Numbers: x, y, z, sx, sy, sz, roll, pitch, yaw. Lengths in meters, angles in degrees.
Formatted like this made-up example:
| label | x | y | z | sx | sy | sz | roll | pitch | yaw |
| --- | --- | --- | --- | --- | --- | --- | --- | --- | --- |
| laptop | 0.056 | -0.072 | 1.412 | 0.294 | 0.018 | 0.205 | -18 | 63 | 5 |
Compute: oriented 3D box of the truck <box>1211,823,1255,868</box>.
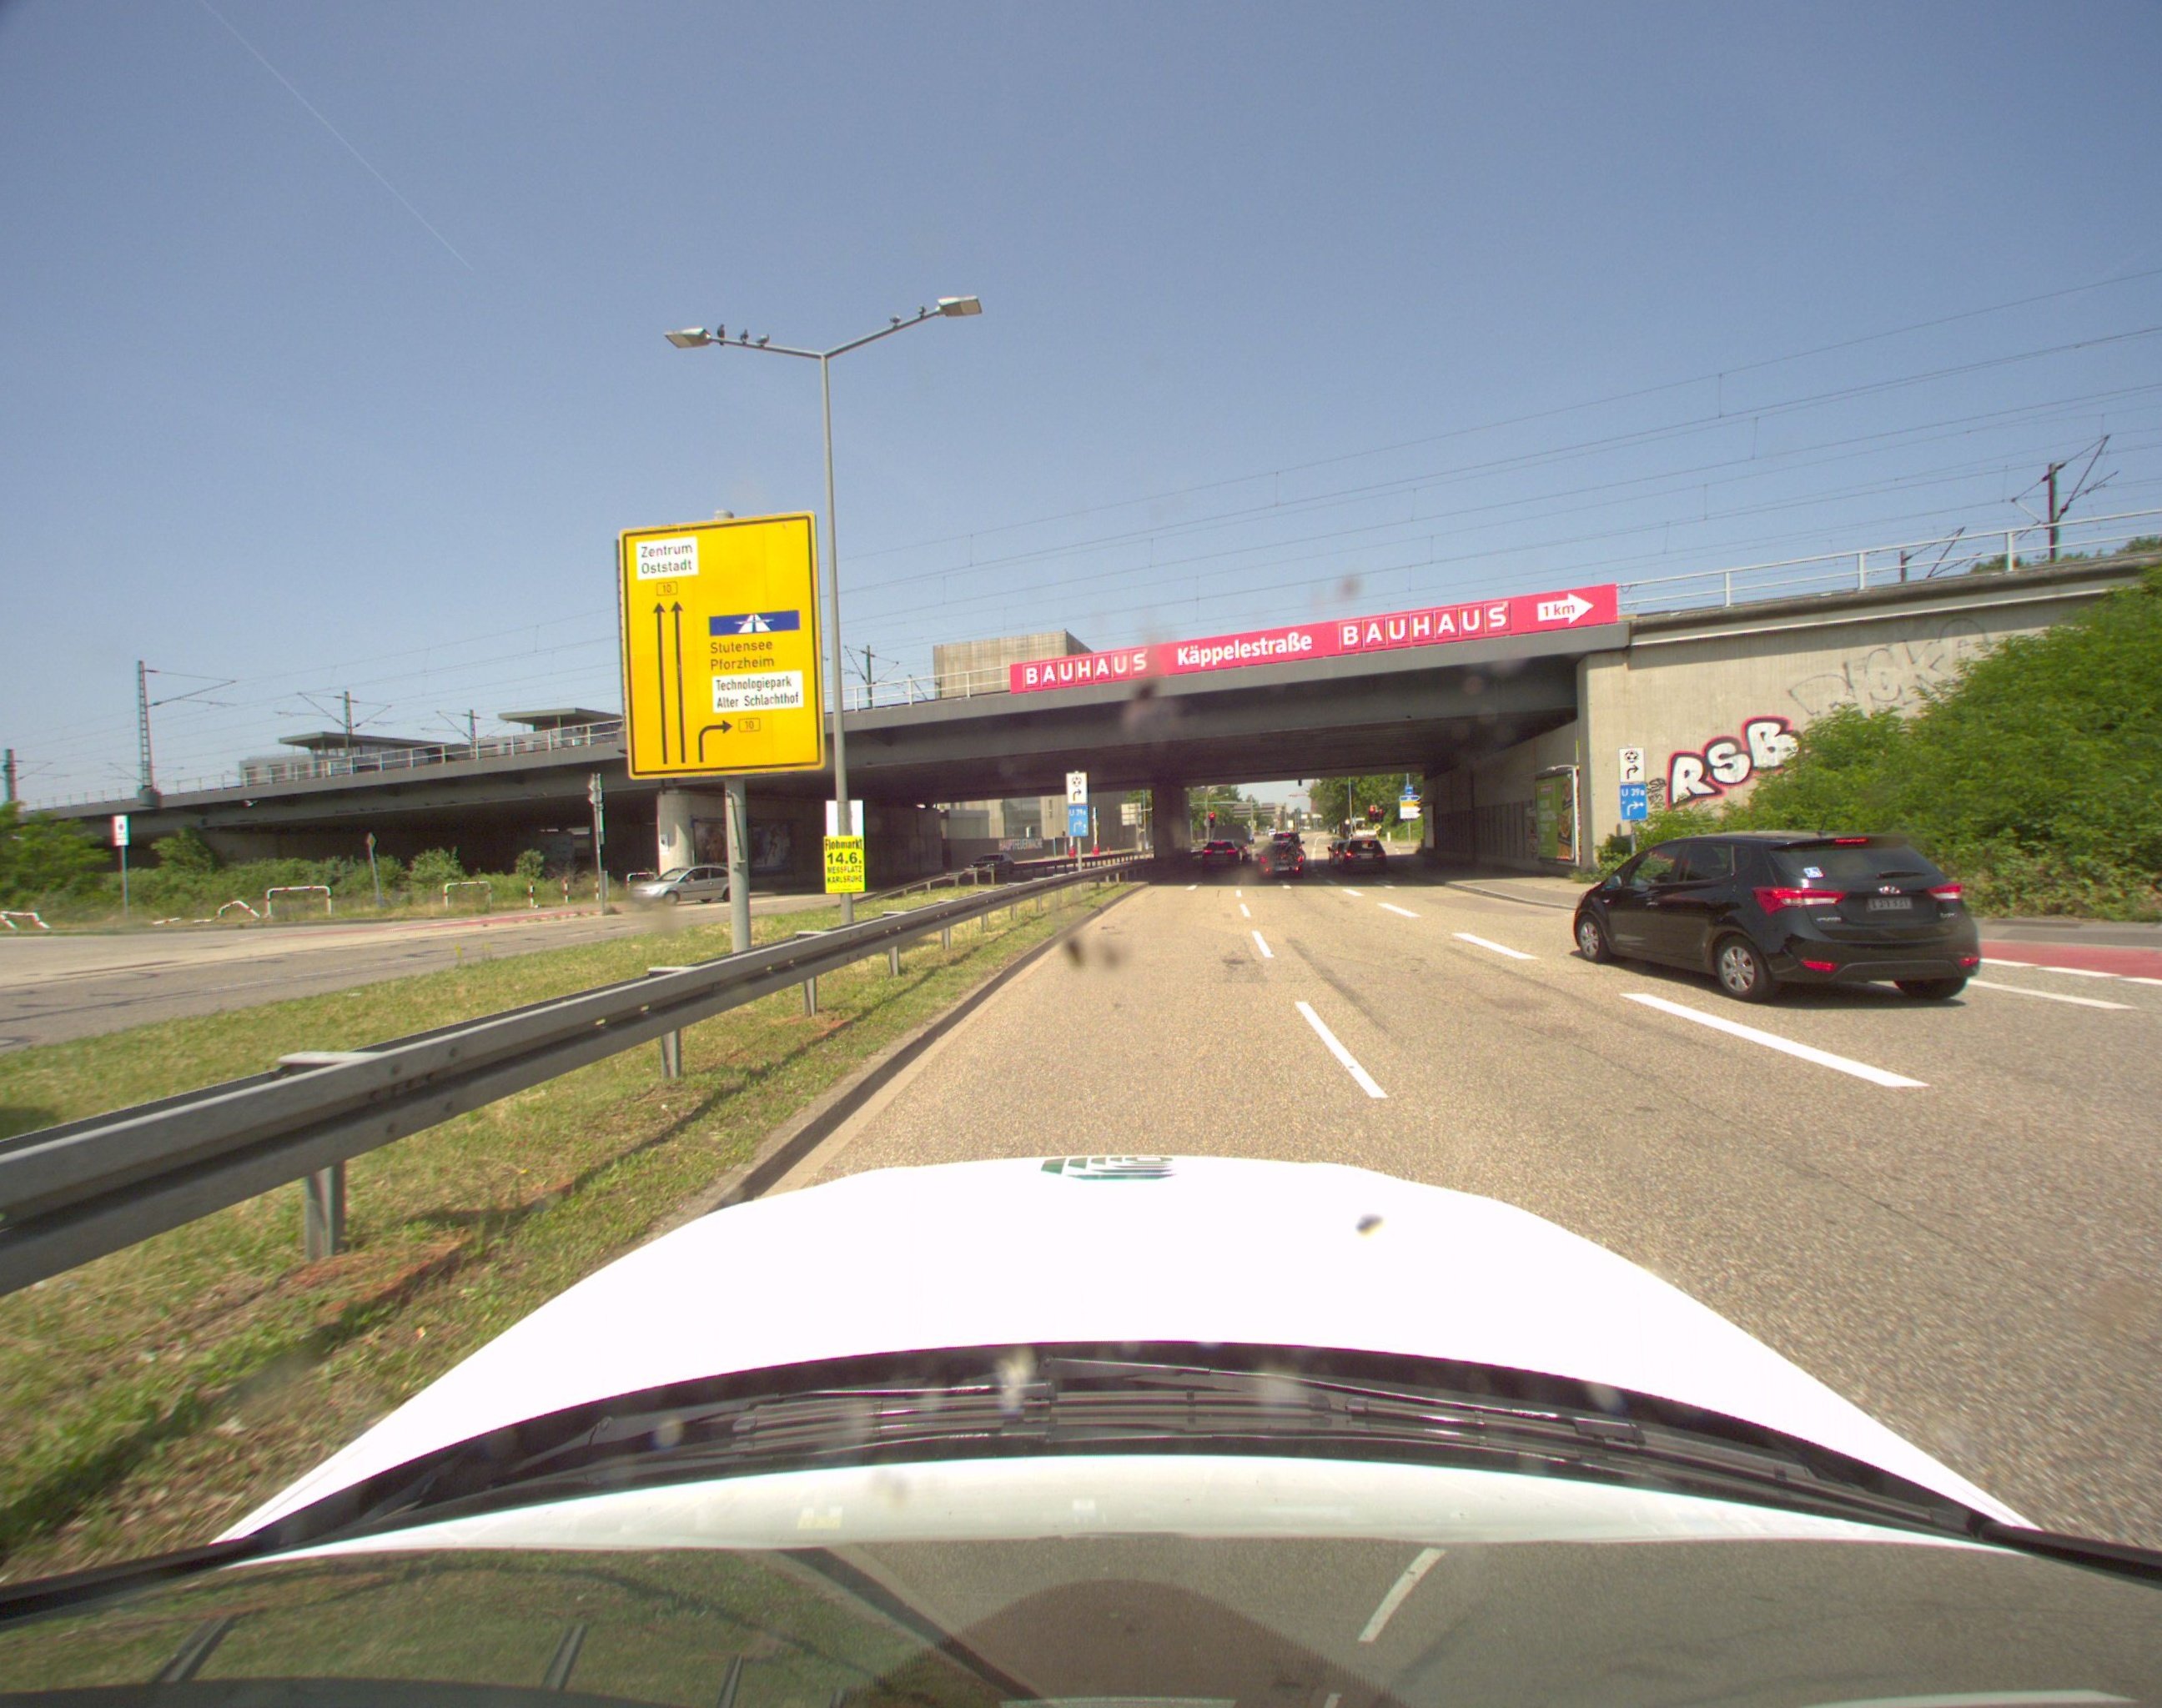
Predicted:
| label | x | y | z | sx | sy | sz | roll | pitch | yaw |
| --- | --- | --- | --- | --- | --- | --- | --- | --- | --- |
| truck | 9.312 | -0.524 | 49.717 | 2.051 | 2.538 | 4.018 | -3 | 0 | 17 |

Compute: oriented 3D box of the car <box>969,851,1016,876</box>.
| label | x | y | z | sx | sy | sz | roll | pitch | yaw |
| --- | --- | --- | --- | --- | --- | --- | --- | --- | --- |
| car | -5.963 | 0.603 | 55.489 | 1.841 | 1.622 | 4.015 | -2 | 0 | 14 |

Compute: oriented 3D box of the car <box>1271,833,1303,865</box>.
| label | x | y | z | sx | sy | sz | roll | pitch | yaw |
| --- | --- | --- | --- | --- | --- | --- | --- | --- | --- |
| car | 12.890 | -0.324 | 51.052 | 1.827 | 1.890 | 4.014 | -2 | 0 | 13 |

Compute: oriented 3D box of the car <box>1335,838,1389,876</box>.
| label | x | y | z | sx | sy | sz | roll | pitch | yaw |
| --- | --- | --- | --- | --- | --- | --- | --- | --- | --- |
| car | 12.393 | 0.130 | 36.123 | 1.827 | 1.568 | 4.014 | -2 | 0 | 13 |

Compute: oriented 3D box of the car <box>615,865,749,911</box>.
| label | x | y | z | sx | sy | sz | roll | pitch | yaw |
| --- | --- | --- | --- | --- | --- | --- | --- | --- | --- |
| car | -14.789 | 1.236 | 30.395 | 1.974 | 1.441 | 4.025 | -4 | -1 | 30 |

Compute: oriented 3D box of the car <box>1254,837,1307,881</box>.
| label | x | y | z | sx | sy | sz | roll | pitch | yaw |
| --- | --- | --- | --- | --- | --- | --- | --- | --- | --- |
| car | 8.202 | 0.176 | 33.458 | 1.943 | 1.633 | 4.297 | -1 | 0 | 14 |

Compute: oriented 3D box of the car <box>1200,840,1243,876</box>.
| label | x | y | z | sx | sy | sz | roll | pitch | yaw |
| --- | --- | --- | --- | --- | --- | --- | --- | --- | --- |
| car | 7.391 | 0.189 | 42.639 | 1.927 | 1.721 | 4.015 | -2 | 0 | 13 |

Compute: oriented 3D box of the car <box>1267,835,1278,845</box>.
| label | x | y | z | sx | sy | sz | roll | pitch | yaw |
| --- | --- | --- | --- | --- | --- | --- | --- | --- | --- |
| car | 44.740 | -3.265 | 190.335 | 1.978 | 2.013 | 4.018 | -4 | -1 | 17 |

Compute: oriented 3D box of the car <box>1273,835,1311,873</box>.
| label | x | y | z | sx | sy | sz | roll | pitch | yaw |
| --- | --- | --- | --- | --- | --- | --- | --- | --- | --- |
| car | 11.247 | -0.026 | 43.550 | 1.827 | 1.890 | 4.014 | -2 | 0 | 13 |

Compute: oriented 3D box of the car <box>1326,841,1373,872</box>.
| label | x | y | z | sx | sy | sz | roll | pitch | yaw |
| --- | --- | --- | --- | --- | --- | --- | --- | --- | --- |
| car | 13.938 | 0.110 | 42.440 | 1.892 | 1.488 | 4.014 | -2 | 0 | 13 |

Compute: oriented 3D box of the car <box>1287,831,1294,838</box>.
| label | x | y | z | sx | sy | sz | roll | pitch | yaw |
| --- | --- | --- | --- | --- | --- | --- | --- | --- | --- |
| car | 63.731 | -6.072 | 248.314 | 1.979 | 2.013 | 4.015 | -2 | 0 | 14 |

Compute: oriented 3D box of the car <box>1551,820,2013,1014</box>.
| label | x | y | z | sx | sy | sz | roll | pitch | yaw |
| --- | --- | --- | --- | --- | --- | --- | --- | --- | --- |
| car | 7.078 | 0.518 | 8.909 | 1.759 | 1.599 | 4.083 | -2 | 1 | 5 |
